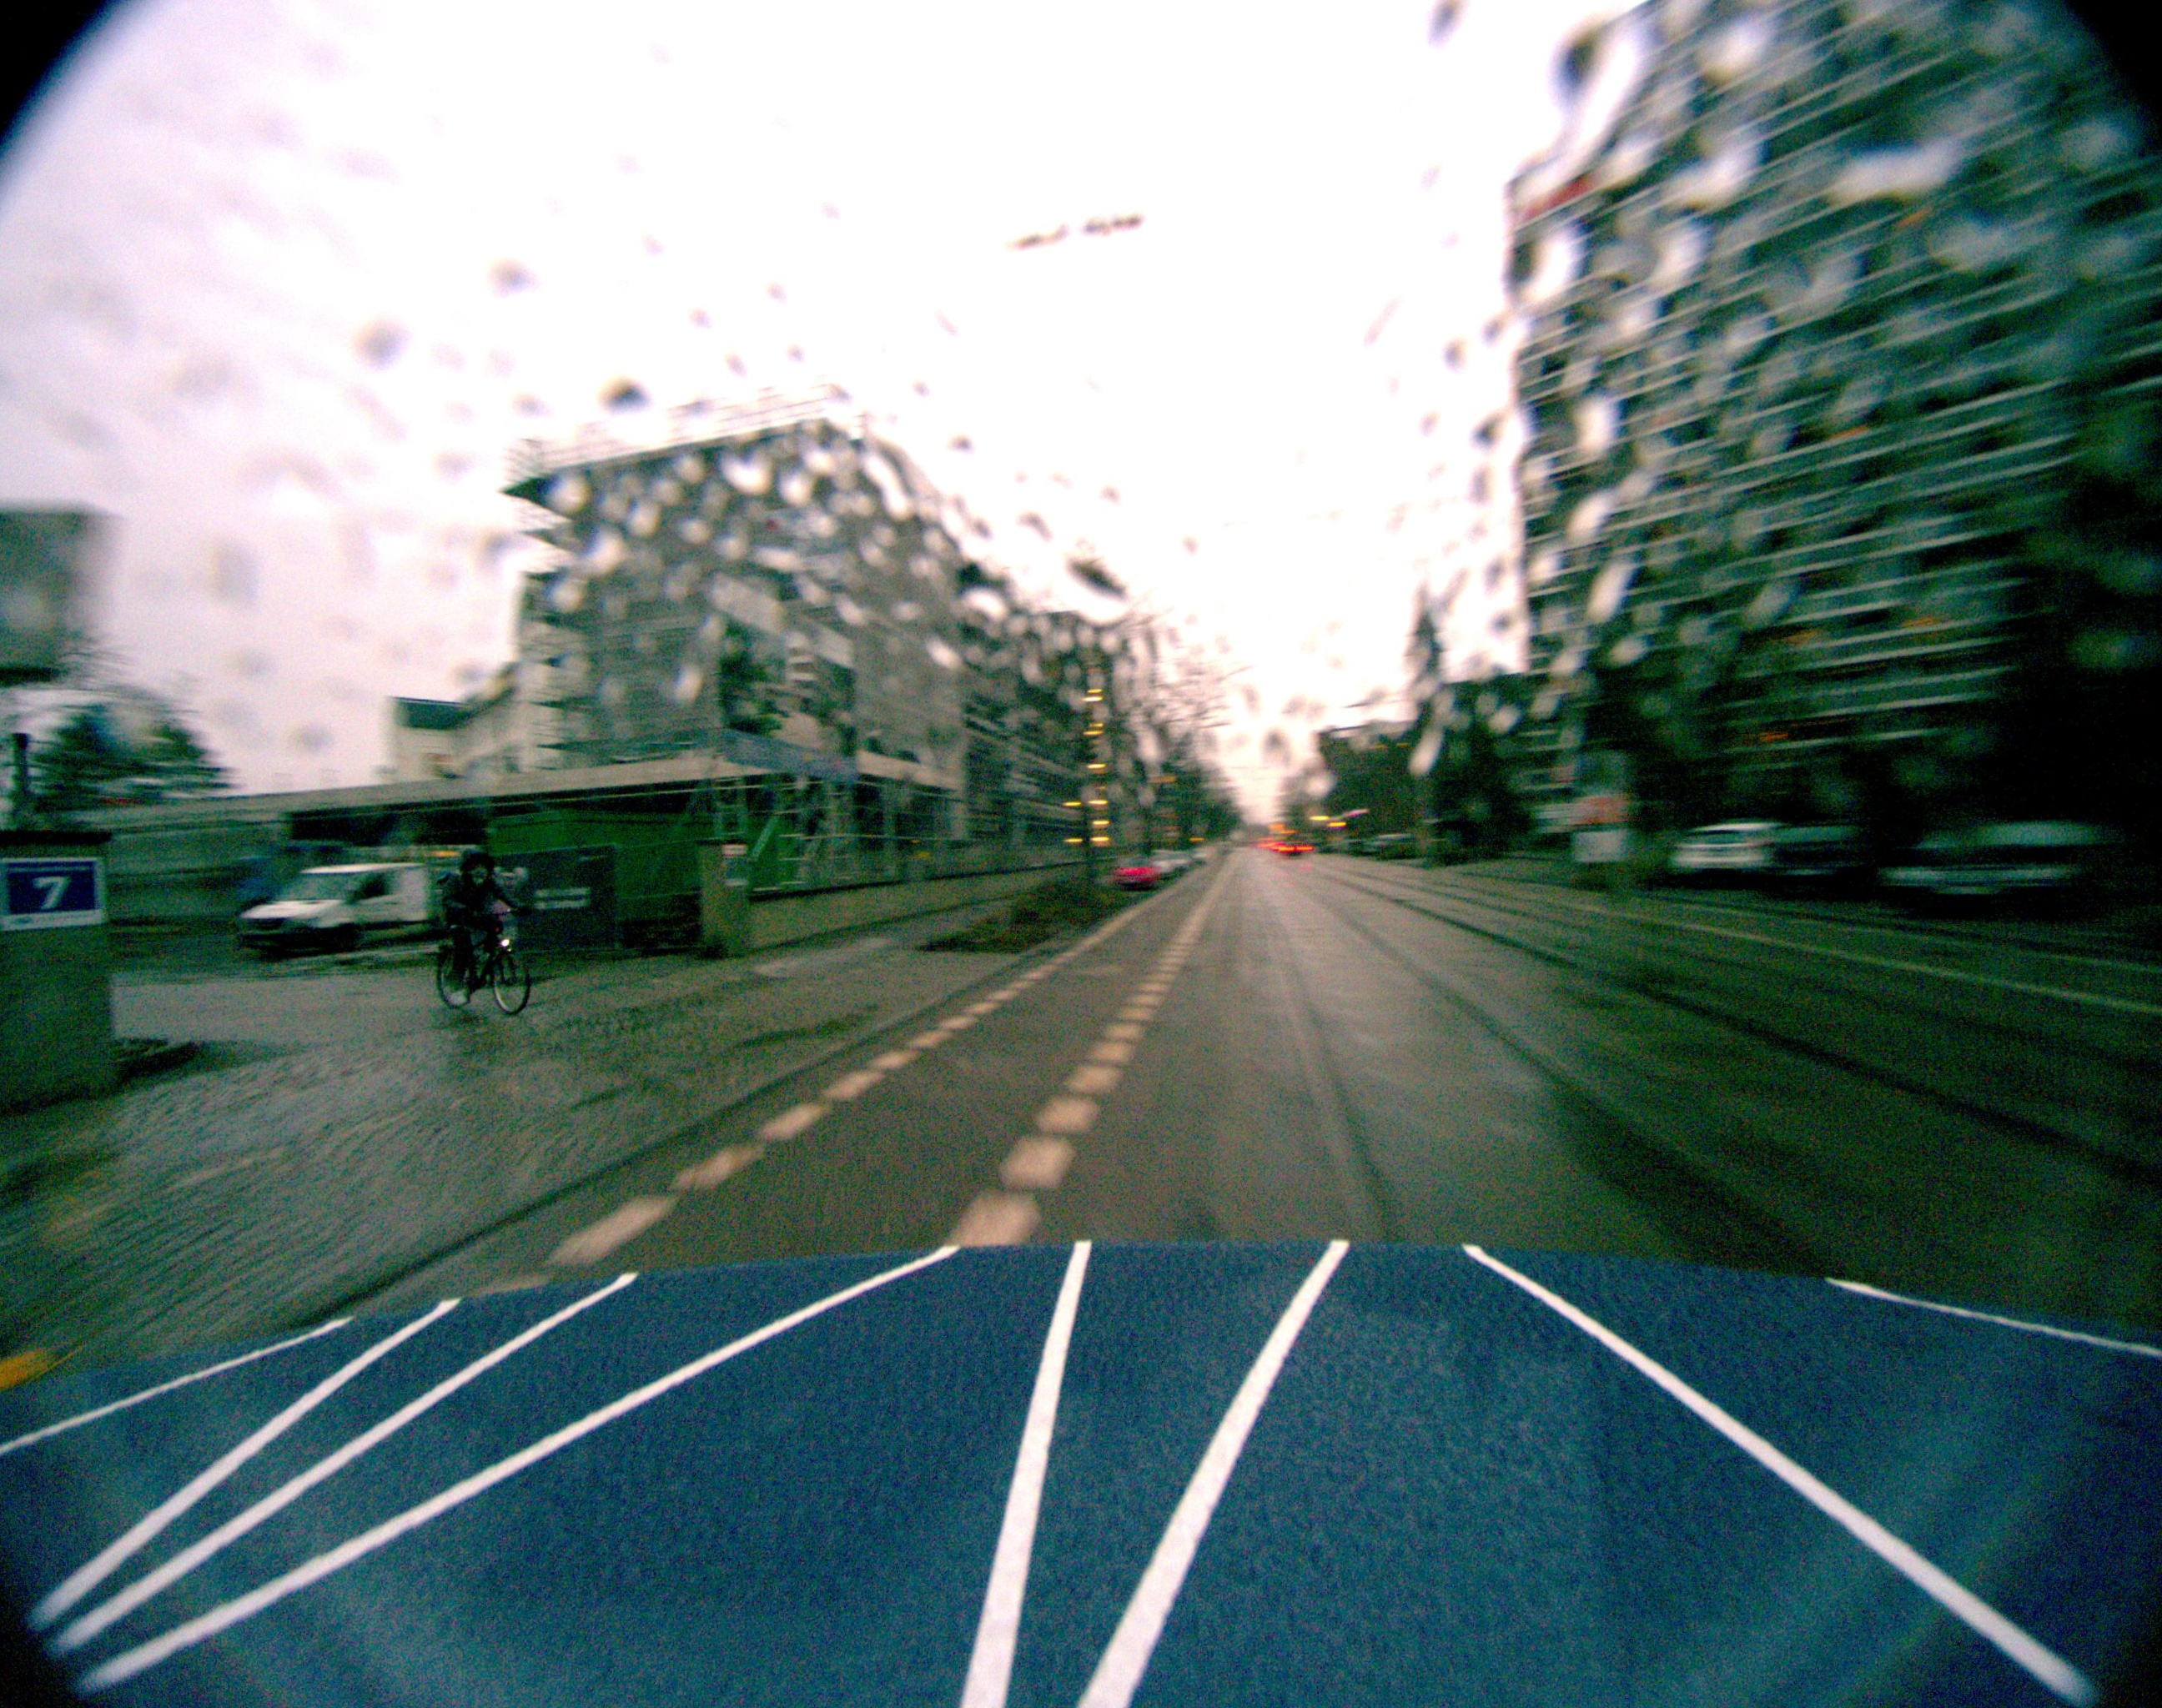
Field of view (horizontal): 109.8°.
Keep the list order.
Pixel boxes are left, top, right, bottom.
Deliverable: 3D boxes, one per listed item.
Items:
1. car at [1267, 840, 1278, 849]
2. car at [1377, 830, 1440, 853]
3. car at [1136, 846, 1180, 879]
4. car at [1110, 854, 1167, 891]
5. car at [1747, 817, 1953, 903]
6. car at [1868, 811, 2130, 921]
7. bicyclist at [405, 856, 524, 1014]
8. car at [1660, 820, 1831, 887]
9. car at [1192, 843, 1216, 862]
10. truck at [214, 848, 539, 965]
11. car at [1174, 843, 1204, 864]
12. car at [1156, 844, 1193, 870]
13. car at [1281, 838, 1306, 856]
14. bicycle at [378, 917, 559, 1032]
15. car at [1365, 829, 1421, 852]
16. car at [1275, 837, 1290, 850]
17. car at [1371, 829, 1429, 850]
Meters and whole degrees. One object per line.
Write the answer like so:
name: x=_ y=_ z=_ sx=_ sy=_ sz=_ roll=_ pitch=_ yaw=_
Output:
car: x=34.354 y=-1.702 z=136.575 sx=1.764 sy=1.403 sz=4.003 roll=-2 pitch=0 yaw=12
car: x=23.590 y=-0.862 z=54.834 sx=3.992 sy=1.477 sz=1.674 roll=-2 pitch=0 yaw=18
car: x=4.163 y=0.418 z=40.513 sx=1.751 sy=1.575 sz=3.740 roll=-2 pitch=0 yaw=14
car: x=2.455 y=0.738 z=31.678 sx=1.751 sy=1.379 sz=3.740 roll=-2 pitch=0 yaw=14
car: x=15.109 y=0.069 z=14.904 sx=4.006 sy=1.454 sz=1.852 roll=-2 pitch=0 yaw=-30
car: x=13.887 y=0.119 z=11.469 sx=4.006 sy=1.371 sz=1.852 roll=-2 pitch=0 yaw=-30
bicyclist: x=-6.948 y=0.884 z=8.582 sx=0.769 sy=1.679 sz=0.708 roll=-2 pitch=1 yaw=23
car: x=15.987 y=-0.038 z=18.250 sx=4.006 sy=1.391 sz=1.852 roll=-2 pitch=0 yaw=-30
car: x=11.451 y=-0.165 z=70.496 sx=1.864 sy=1.584 sz=4.004 roll=-2 pitch=0 yaw=14
truck: x=-19.424 y=1.248 z=21.750 sx=2.130 sy=2.573 sz=7.081 roll=-2 pitch=2 yaw=5
car: x=8.562 y=-0.045 z=60.050 sx=1.864 sy=1.584 sz=4.004 roll=-2 pitch=0 yaw=14
car: x=6.320 y=0.175 z=50.989 sx=1.864 sy=1.584 sz=4.004 roll=-2 pitch=0 yaw=14
car: x=19.798 y=-0.663 z=70.919 sx=1.750 sy=1.536 sz=4.298 roll=-2 pitch=0 yaw=9
bicycle: x=-6.909 y=1.313 z=8.572 sx=1.890 sy=1.126 sz=0.732 roll=-2 pitch=0 yaw=23
car: x=25.157 y=-1.077 z=61.413 sx=3.992 sy=1.630 sz=2.002 roll=-2 pitch=0 yaw=18
car: x=25.921 y=-1.352 z=97.826 sx=1.709 sy=1.569 sz=4.383 roll=-2 pitch=0 yaw=13
car: x=24.557 y=-1.111 z=58.608 sx=3.992 sy=1.477 sz=1.674 roll=-2 pitch=0 yaw=18
